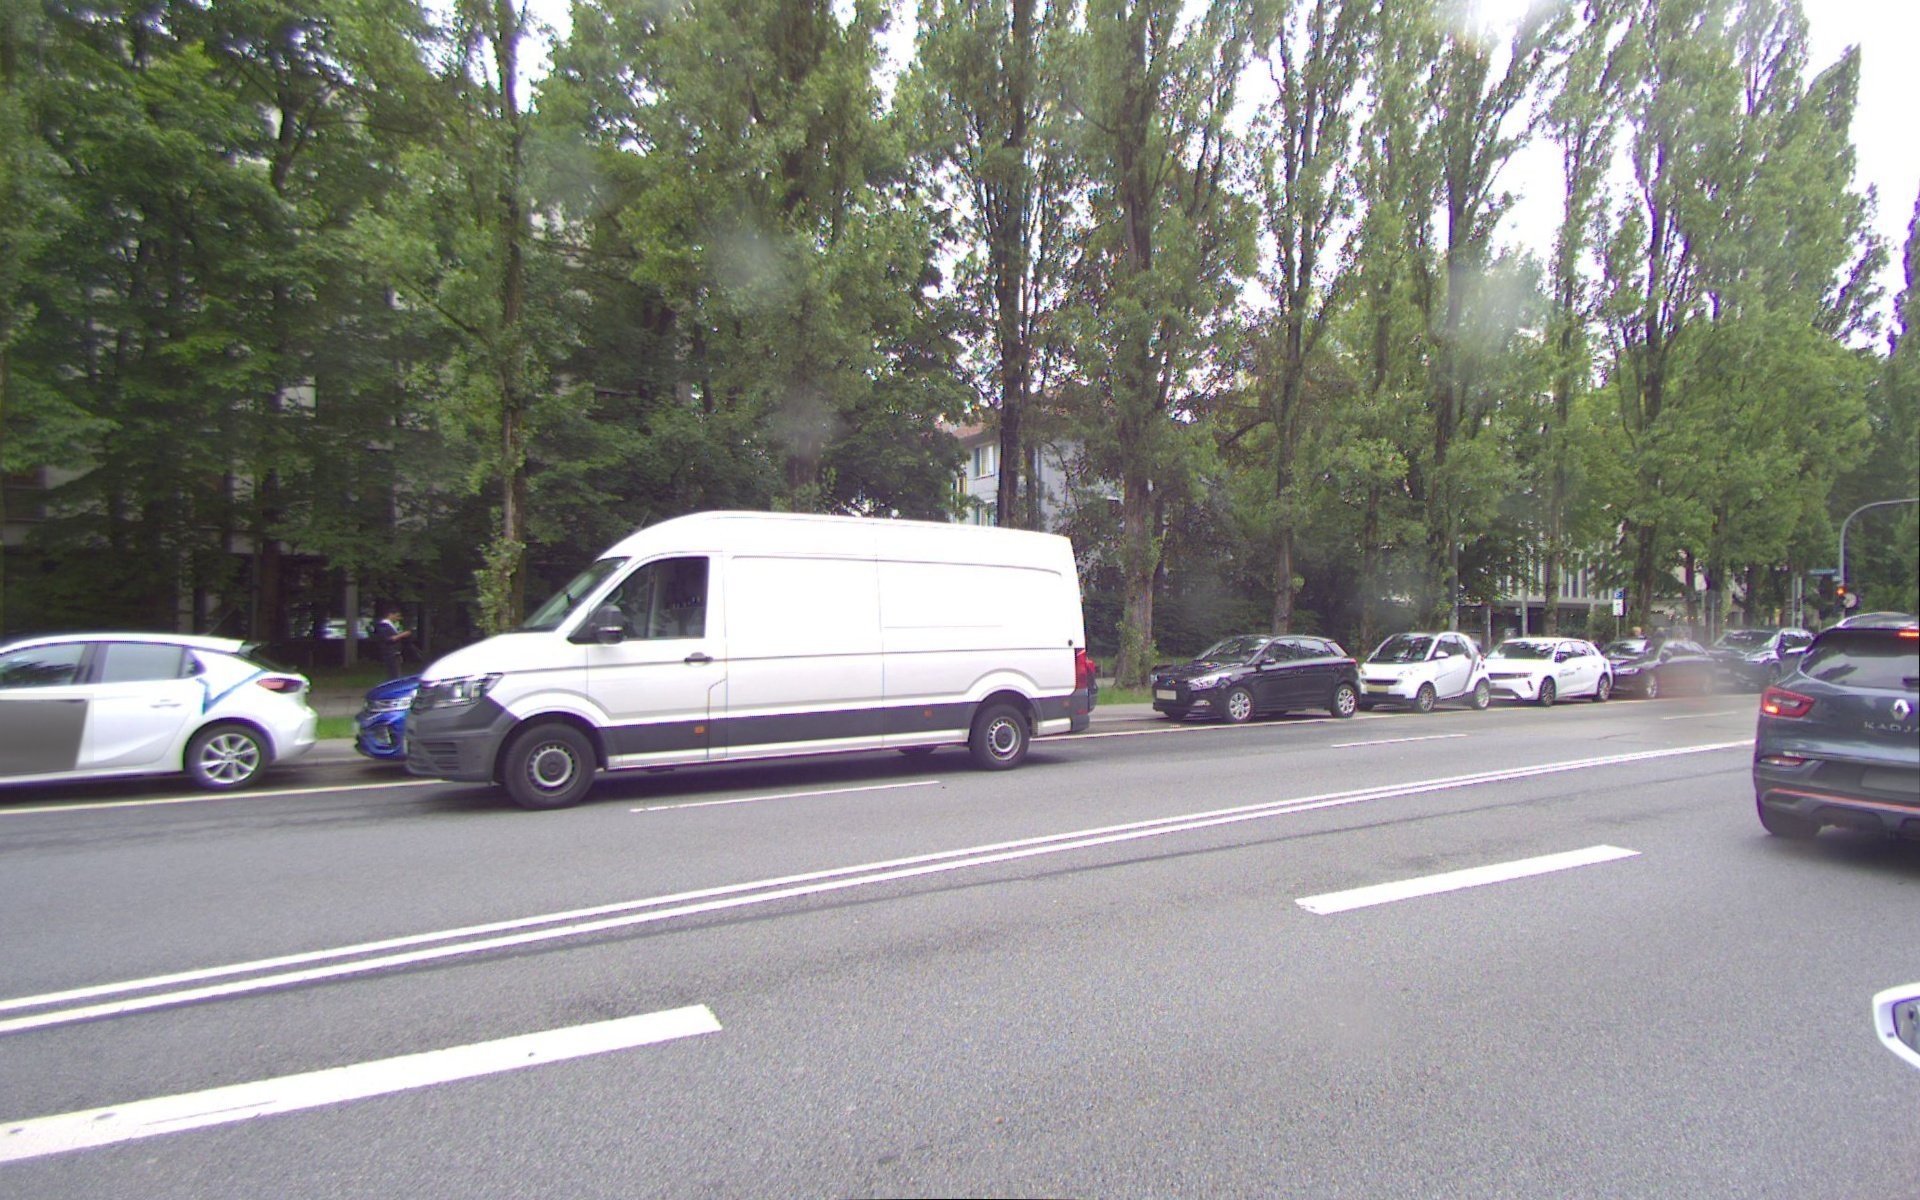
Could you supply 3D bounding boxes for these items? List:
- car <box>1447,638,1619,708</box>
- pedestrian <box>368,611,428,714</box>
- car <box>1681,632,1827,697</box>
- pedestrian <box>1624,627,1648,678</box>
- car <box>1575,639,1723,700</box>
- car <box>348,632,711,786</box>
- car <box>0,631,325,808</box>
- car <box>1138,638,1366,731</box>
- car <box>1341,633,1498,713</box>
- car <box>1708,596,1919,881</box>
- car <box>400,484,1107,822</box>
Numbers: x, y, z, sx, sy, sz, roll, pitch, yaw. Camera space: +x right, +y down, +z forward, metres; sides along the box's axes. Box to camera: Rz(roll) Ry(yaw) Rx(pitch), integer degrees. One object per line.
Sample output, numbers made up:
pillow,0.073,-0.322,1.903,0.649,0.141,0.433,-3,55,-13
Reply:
car,12.702,1.573,22.206,4.123,1.407,1.614,1,-4,-34
pedestrian,-10.118,1.102,18.094,0.879,1.795,0.733,1,0,-30
car,22.317,1.769,28.194,4.646,1.675,1.838,1,-4,-34
pedestrian,20.550,1.596,30.542,0.390,1.548,0.463,1,-1,-30
car,17.280,1.706,25.159,4.123,1.407,1.614,1,-4,-34
car,-4.802,1.129,11.311,3.547,1.470,1.700,1,-4,-33
car,-8.322,1.046,9.204,4.187,1.471,1.761,1,-4,-33
car,5.087,1.413,17.428,3.805,1.444,1.594,1,-4,-30
car,9.130,1.427,19.939,2.932,1.466,1.420,1,-4,-32
car,7.181,0.829,6.880,4.136,1.607,1.826,1,0,-30
car,-1.801,0.501,10.203,6.683,2.515,2.216,1,-3,-32
